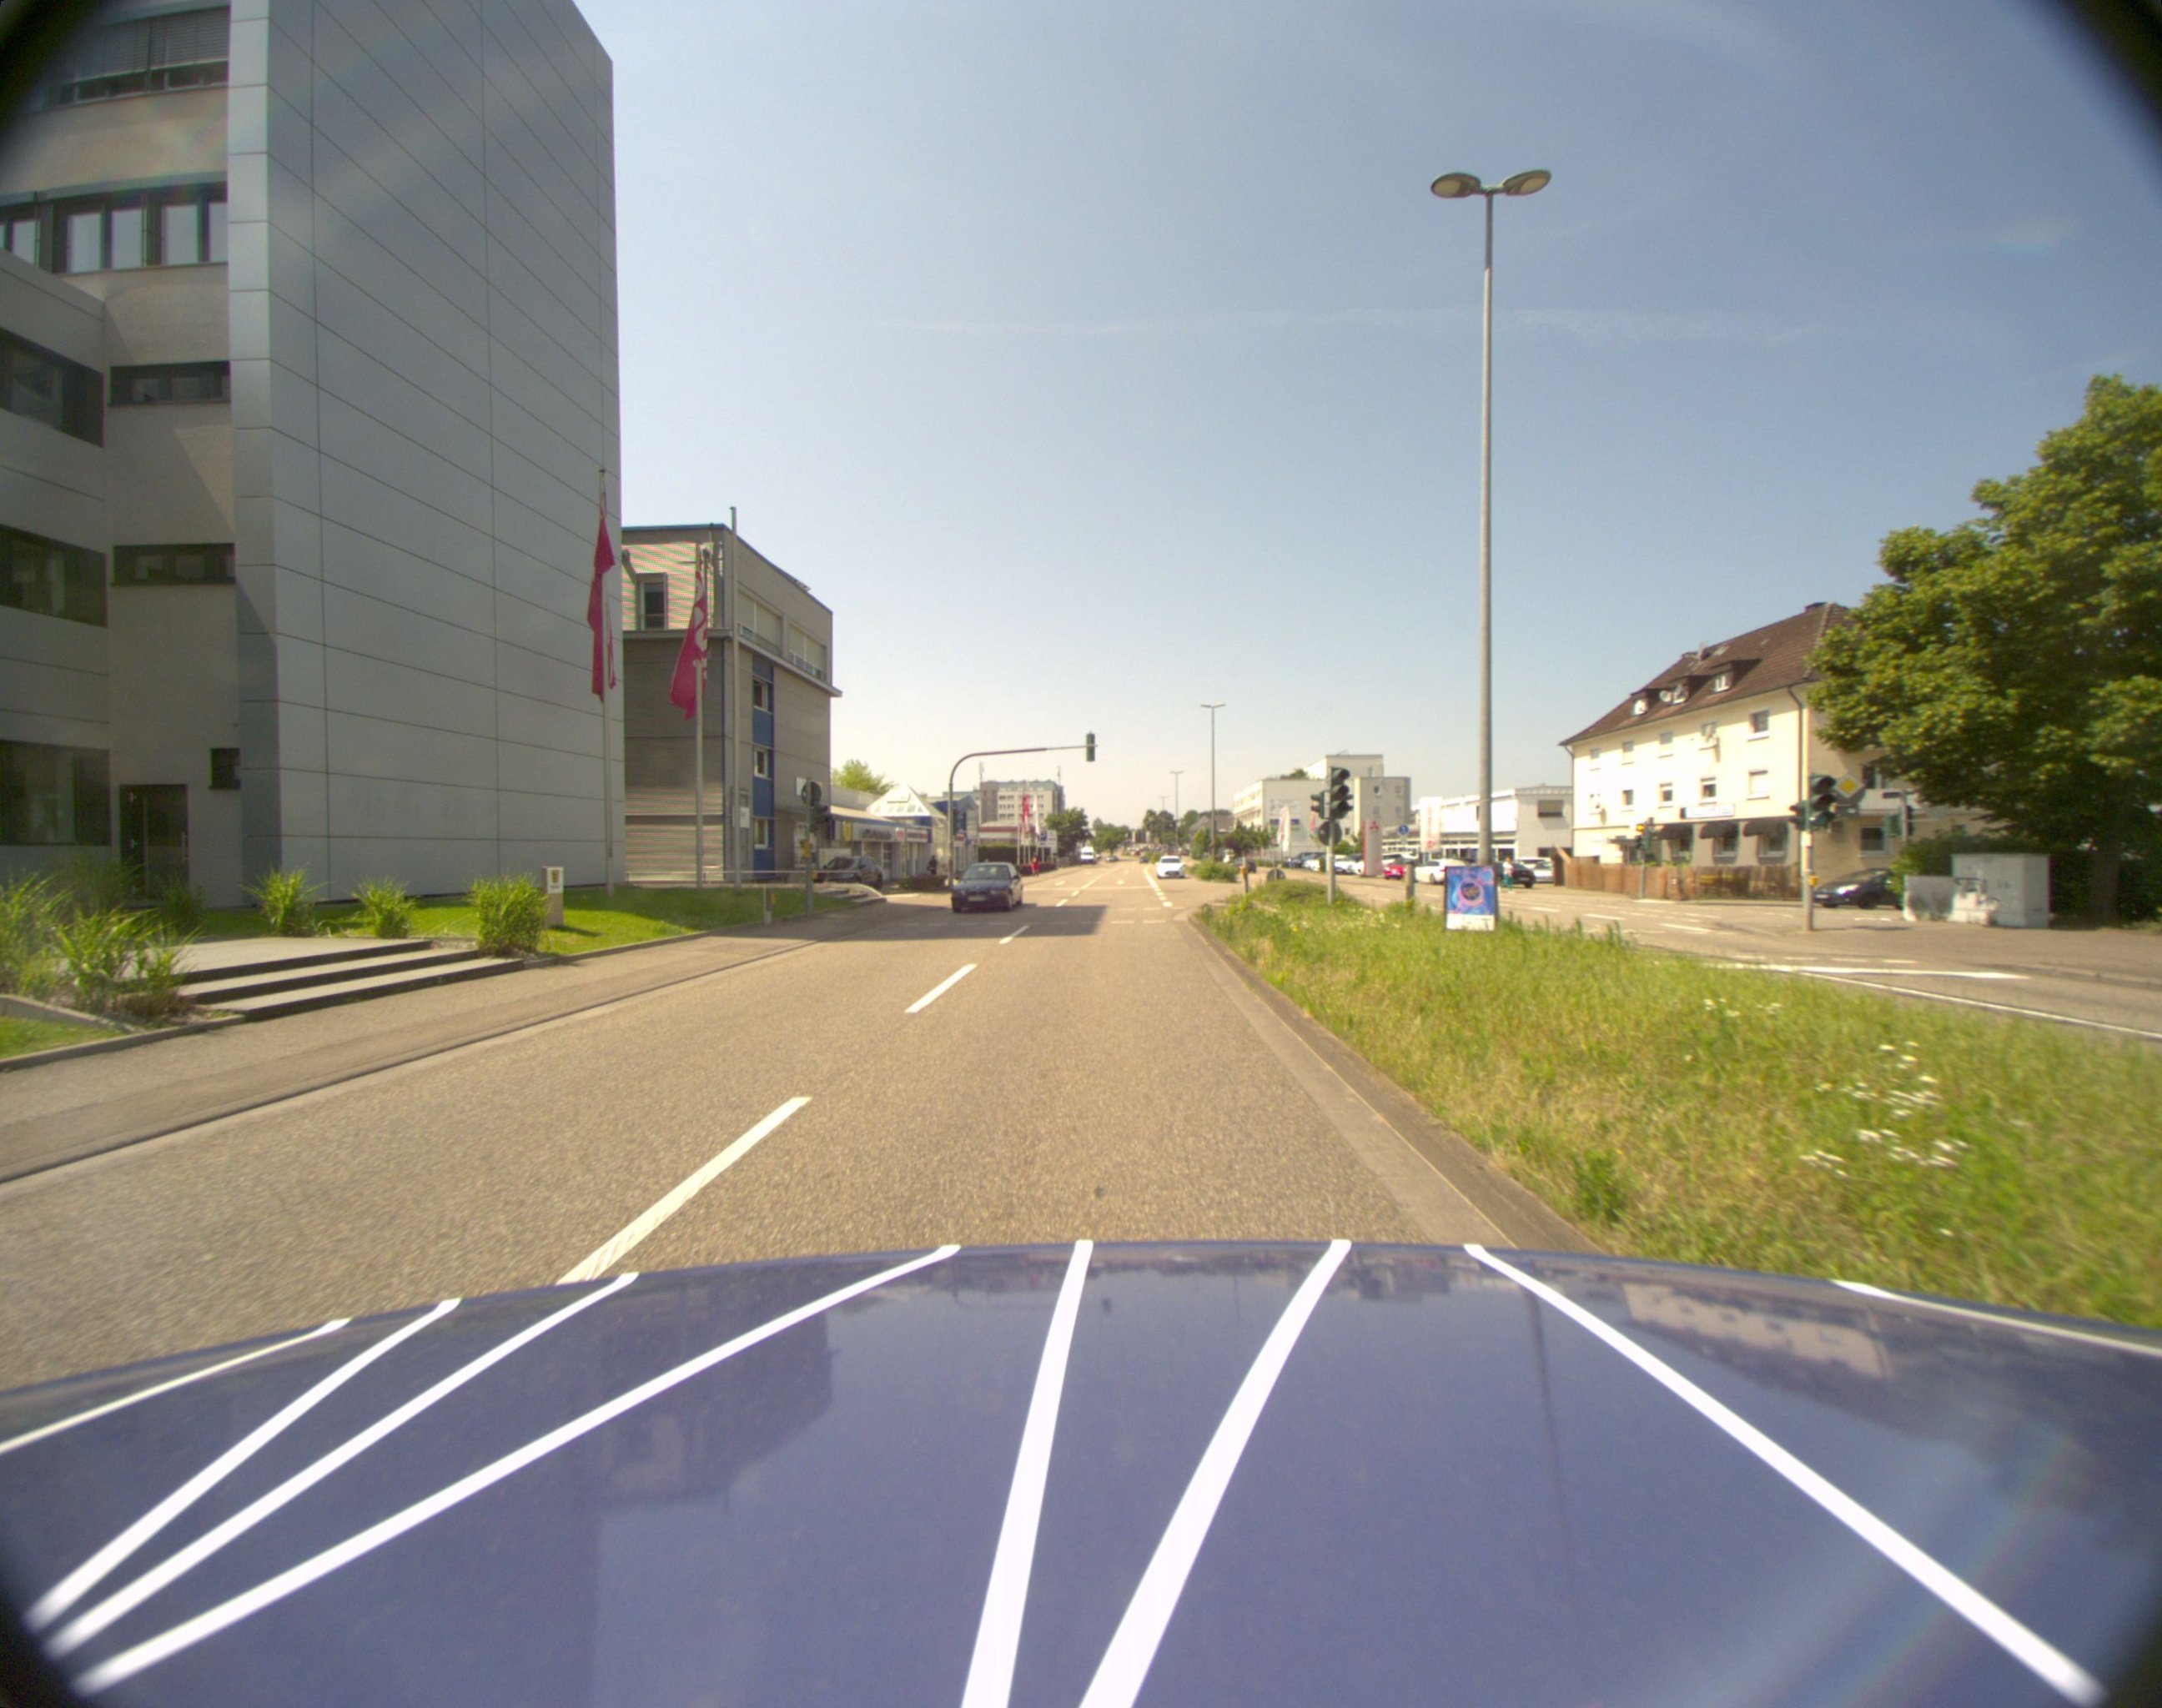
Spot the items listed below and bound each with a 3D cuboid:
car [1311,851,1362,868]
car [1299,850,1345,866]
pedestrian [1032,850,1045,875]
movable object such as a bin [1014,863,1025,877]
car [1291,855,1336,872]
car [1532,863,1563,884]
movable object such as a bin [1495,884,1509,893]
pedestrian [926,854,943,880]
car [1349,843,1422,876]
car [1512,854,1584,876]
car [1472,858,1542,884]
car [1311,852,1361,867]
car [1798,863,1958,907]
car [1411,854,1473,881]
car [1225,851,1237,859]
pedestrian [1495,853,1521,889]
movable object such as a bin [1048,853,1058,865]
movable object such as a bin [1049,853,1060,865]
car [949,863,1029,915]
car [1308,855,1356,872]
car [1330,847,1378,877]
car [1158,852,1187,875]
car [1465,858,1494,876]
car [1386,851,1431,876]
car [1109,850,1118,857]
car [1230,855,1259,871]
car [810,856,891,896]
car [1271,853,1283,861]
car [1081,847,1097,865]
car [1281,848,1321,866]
[{"bbox_3d":[22.717,0.513,67.699,3.996,1.458,1.760,0,1,3],"label":"car"},{"bbox_3d":[23.932,0.357,75.540,3.996,1.559,1.760,0,1,3],"label":"car"},{"bbox_3d":[-3.141,0.653,56.213,0.787,1.836,0.936,0,1,7],"label":"pedestrian"},{"bbox_3d":[-4.096,1.057,50.603,0.552,0.914,0.653,3,1,5],"label":"movable object such as a bin"},{"bbox_3d":[24.062,0.970,78.710,3.996,1.599,1.760,3,1,3],"label":"car"},{"bbox_3d":[31.358,1.275,51.144,1.646,1.244,4.008,0,0,30],"label":"car"},{"bbox_3d":[20.710,1.697,37.386,0.417,0.370,0.507,0,0,5],"label":"movable object such as a bin"},{"bbox_3d":[-9.310,0.814,48.384,0.811,1.617,0.853,0,1,7],"label":"pedestrian"},{"bbox_3d":[22.604,0.405,56.545,4.557,1.699,1.760,-9,0,3],"label":"car"},{"bbox_3d":[33.748,0.787,54.962,3.996,1.606,1.866,0,1,4],"label":"car"},{"bbox_3d":[23.743,0.926,42.513,1.736,1.343,4.000,0,0,2],"label":"car"},{"bbox_3d":[23.425,0.493,69.991,3.996,1.386,1.860,0,0,3],"label":"car"},{"bbox_3d":[31.227,1.201,29.896,3.994,1.602,1.870,0,1,9],"label":"car"},{"bbox_3d":[20.745,0.745,43.838,1.779,1.402,4.761,1,0,7],"label":"car"},{"bbox_3d":[26.818,0.201,135.901,1.695,1.440,3.666,-1,0,3],"label":"car"},{"bbox_3d":[20.790,0.807,36.987,0.742,1.737,1.034,0,1,7],"label":"pedestrian"},{"bbox_3d":[-3.457,0.603,94.027,1.133,1.461,1.490,0,1,5],"label":"movable object such as a bin"},{"bbox_3d":[-3.344,0.594,95.630,1.133,1.461,1.490,0,1,5],"label":"movable object such as a bin"},{"bbox_3d":[-2.640,0.984,22.578,1.631,1.331,3.757,-2,0,4],"label":"car"},{"bbox_3d":[24.051,0.880,72.924,3.995,1.599,1.926,0,1,6],"label":"car"},{"bbox_3d":[23.322,0.650,64.804,4.002,1.616,1.755,-16,10,-35],"label":"car"},{"bbox_3d":[5.954,0.604,49.718,1.692,1.426,3.712,0,0,4],"label":"car"},{"bbox_3d":[28.395,0.902,54.195,1.646,1.244,4.007,0,0,25],"label":"car"},{"bbox_3d":[22.557,0.651,52.283,1.834,1.633,4.187,0,1,39],"label":"car"},{"bbox_3d":[7.094,-0.041,167.197,1.866,1.550,4.001,0,0,3],"label":"car"},{"bbox_3d":[15.382,0.816,71.728,1.998,1.477,4.502,0,0,4],"label":"car"},{"bbox_3d":[-9.718,0.892,32.381,1.848,1.522,4.198,-2,0,4],"label":"car"},{"bbox_3d":[31.747,0.482,123.108,1.455,1.332,2.834,0,0,7],"label":"car"},{"bbox_3d":[1.310,0.272,123.184,2.182,2.757,7.279,2,0,3],"label":"car"},{"bbox_3d":[24.446,0.332,84.512,3.996,1.871,2.000,0,1,3],"label":"car"}]
